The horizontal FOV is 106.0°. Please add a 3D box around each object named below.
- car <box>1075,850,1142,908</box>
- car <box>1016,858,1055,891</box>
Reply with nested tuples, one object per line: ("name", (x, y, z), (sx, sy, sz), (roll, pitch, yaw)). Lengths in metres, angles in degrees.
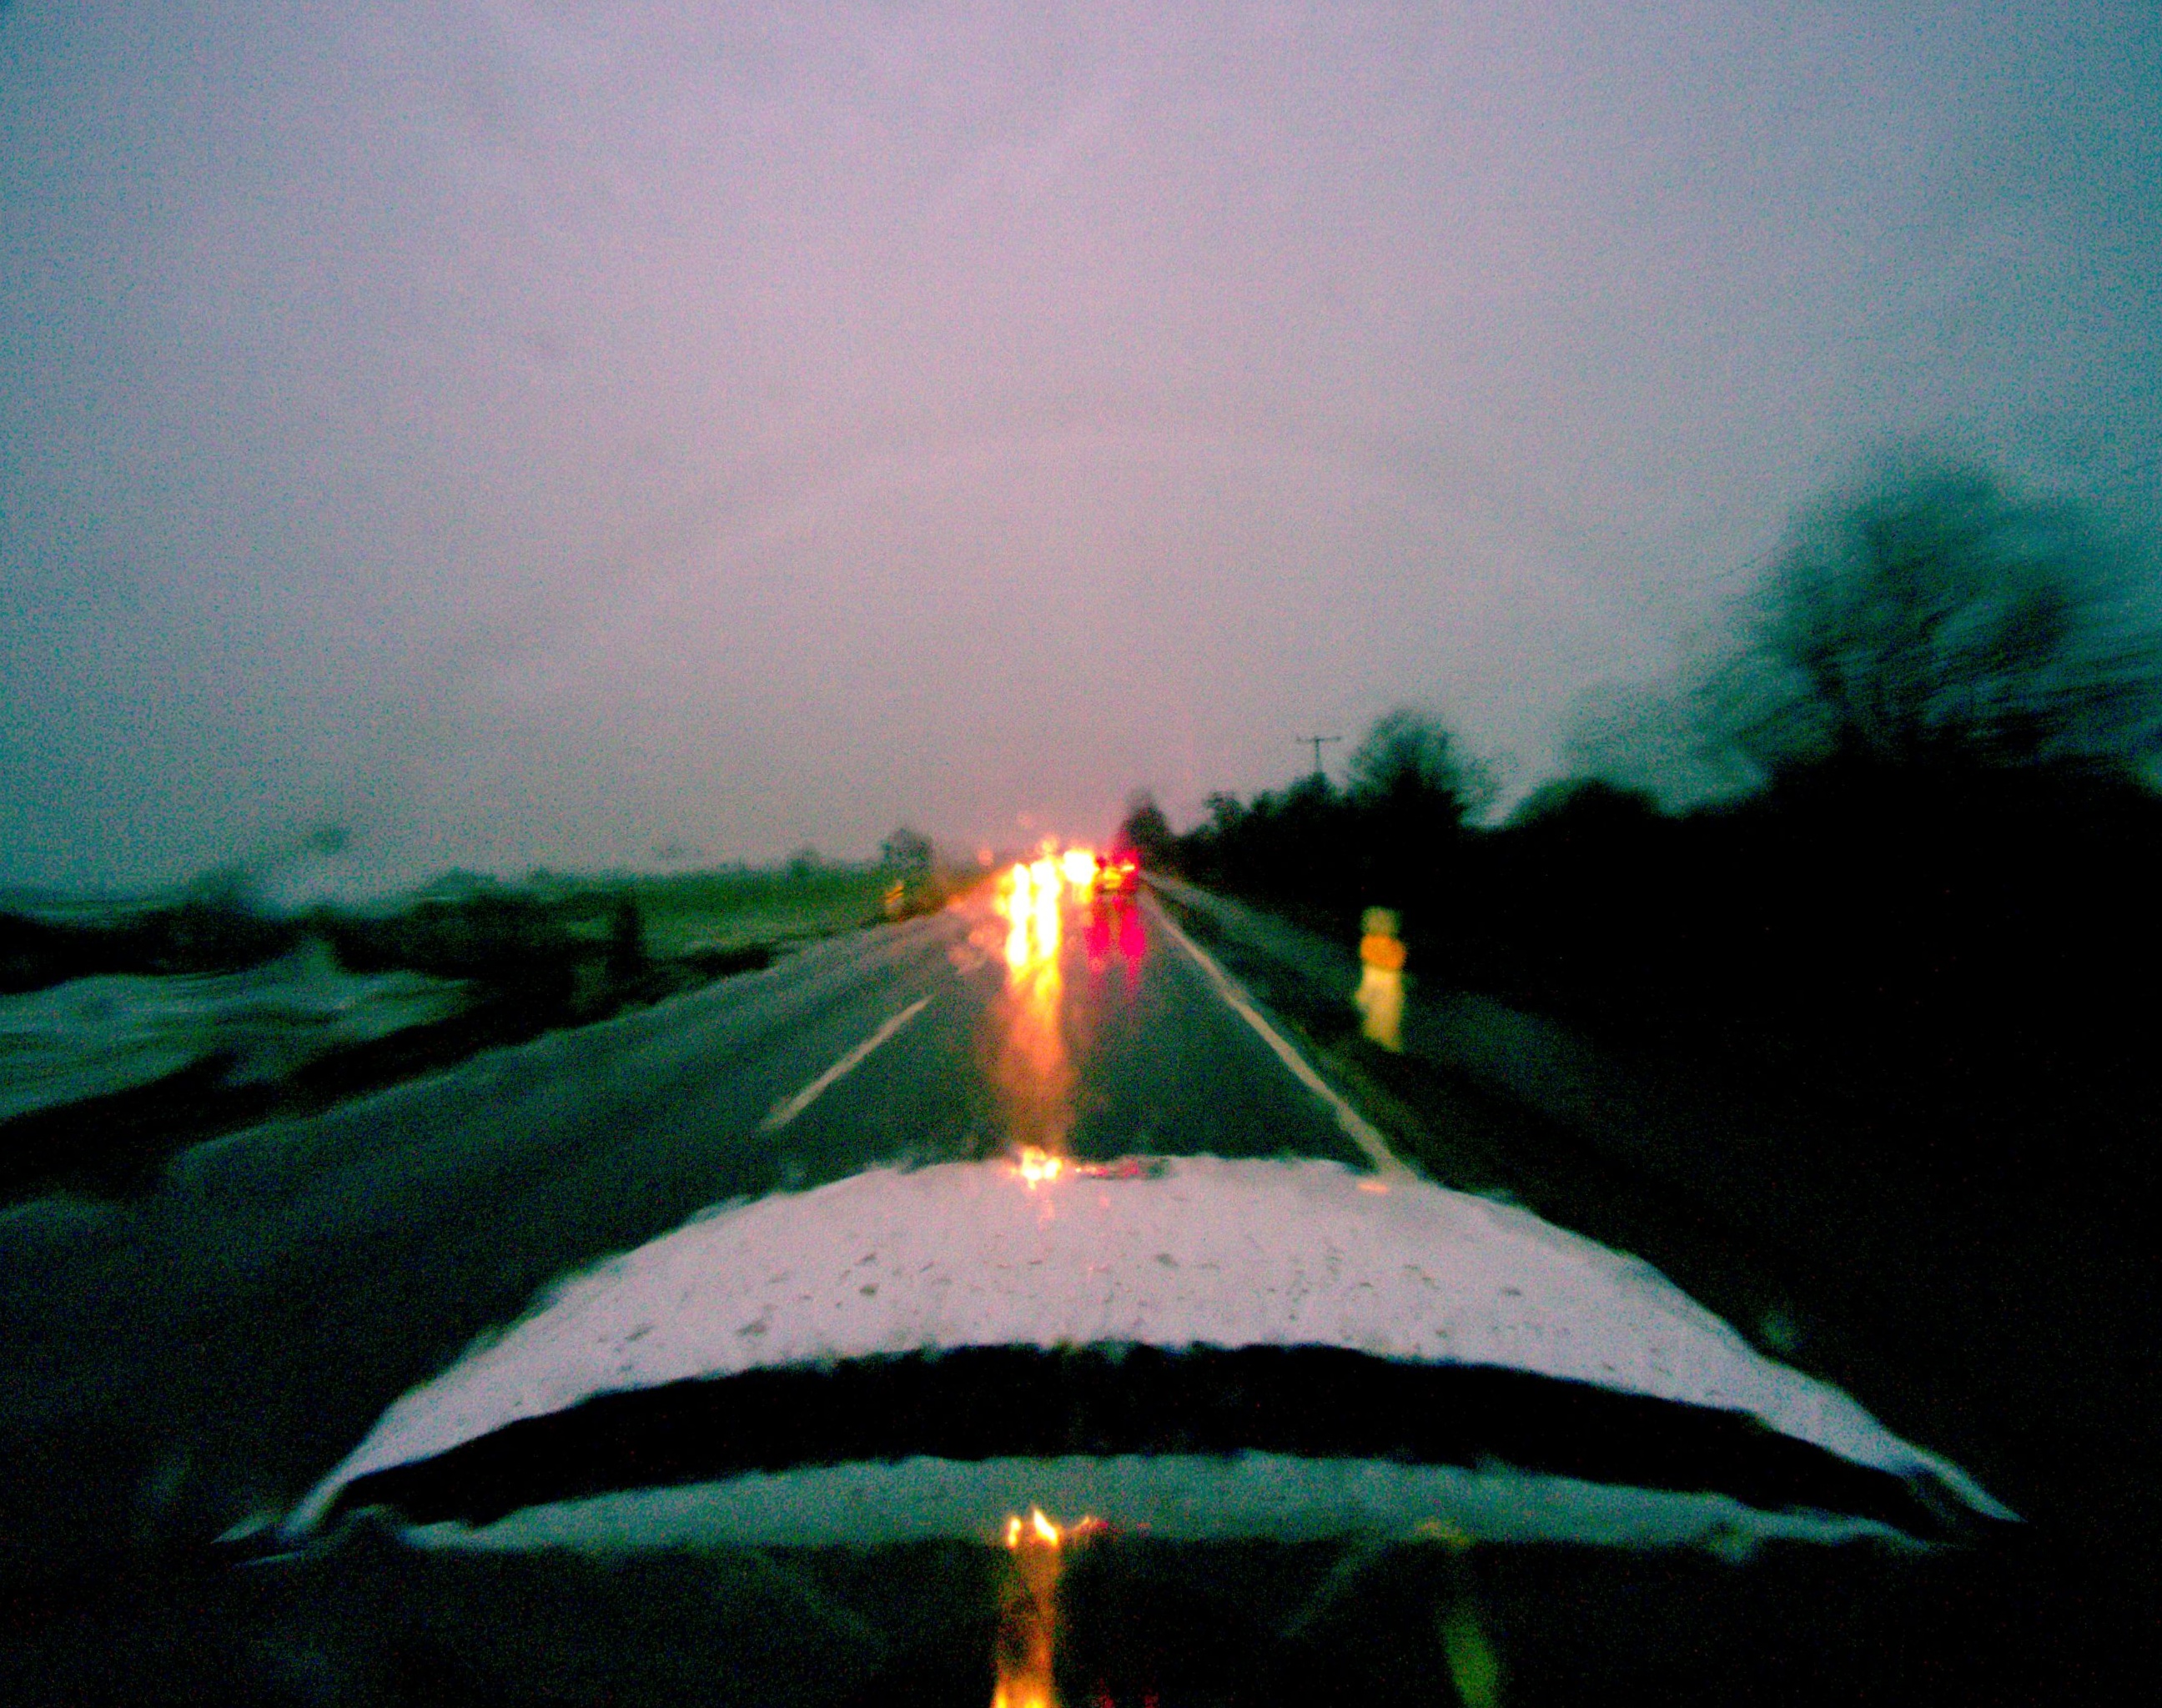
("car", (0.974, 0.887, 28.745), (2.112, 1.820, 4.981), (-1, -2, 2))
("car", (-2.448, 1.082, 44.809), (1.789, 1.686, 4.187), (-3, 0, 1))
